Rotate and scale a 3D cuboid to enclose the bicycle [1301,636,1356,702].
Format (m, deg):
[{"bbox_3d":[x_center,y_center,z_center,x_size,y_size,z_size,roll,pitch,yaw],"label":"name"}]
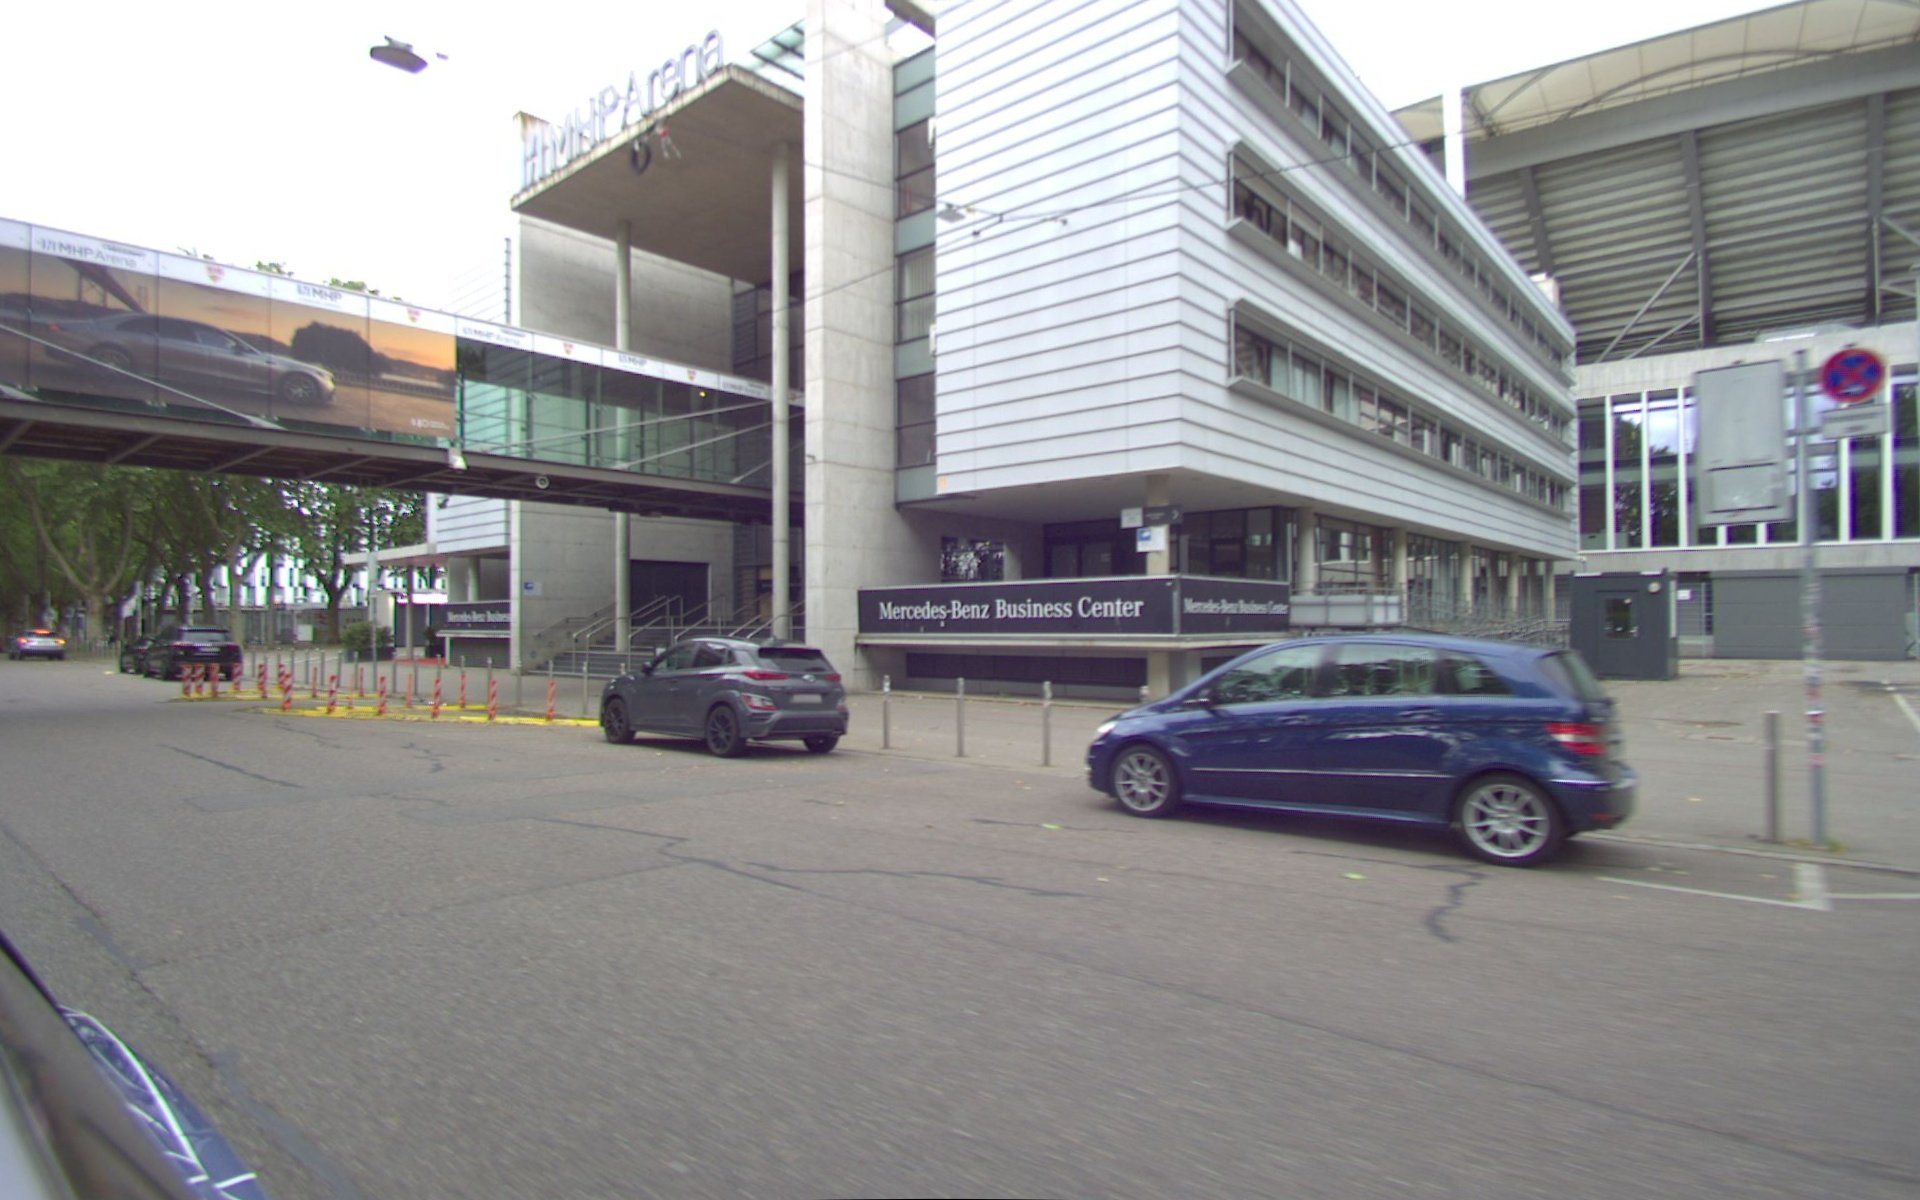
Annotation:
[{"bbox_3d":[7.387,1.345,20.256,0.470,1.196,1.808,-1,0,38],"label":"bicycle"}]

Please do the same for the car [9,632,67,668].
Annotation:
[{"bbox_3d":[-46.820,2.485,51.361,3.998,1.674,1.735,-1,0,41],"label":"car"}]

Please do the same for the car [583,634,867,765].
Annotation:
[{"bbox_3d":[-3.327,1.291,13.967,4.007,1.526,1.735,-1,-5,41],"label":"car"}]

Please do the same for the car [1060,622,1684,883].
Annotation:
[{"bbox_3d":[3.135,1.034,8.252,4.383,1.578,1.736,-1,-6,40],"label":"car"}]

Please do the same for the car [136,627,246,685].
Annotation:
[{"bbox_3d":[-24.948,1.798,32.791,4.231,1.744,1.904,-1,-5,41],"label":"car"}]

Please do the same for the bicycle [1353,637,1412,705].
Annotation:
[{"bbox_3d":[8.213,1.347,19.639,0.568,1.196,1.894,-1,0,38],"label":"bicycle"}]

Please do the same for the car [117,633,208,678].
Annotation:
[{"bbox_3d":[-28.980,2.003,36.749,4.142,1.480,1.758,-1,-5,41],"label":"car"}]

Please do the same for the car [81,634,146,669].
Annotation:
[{"bbox_3d":[-38.957,2.369,46.538,3.801,1.480,1.640,-1,-5,41],"label":"car"}]
